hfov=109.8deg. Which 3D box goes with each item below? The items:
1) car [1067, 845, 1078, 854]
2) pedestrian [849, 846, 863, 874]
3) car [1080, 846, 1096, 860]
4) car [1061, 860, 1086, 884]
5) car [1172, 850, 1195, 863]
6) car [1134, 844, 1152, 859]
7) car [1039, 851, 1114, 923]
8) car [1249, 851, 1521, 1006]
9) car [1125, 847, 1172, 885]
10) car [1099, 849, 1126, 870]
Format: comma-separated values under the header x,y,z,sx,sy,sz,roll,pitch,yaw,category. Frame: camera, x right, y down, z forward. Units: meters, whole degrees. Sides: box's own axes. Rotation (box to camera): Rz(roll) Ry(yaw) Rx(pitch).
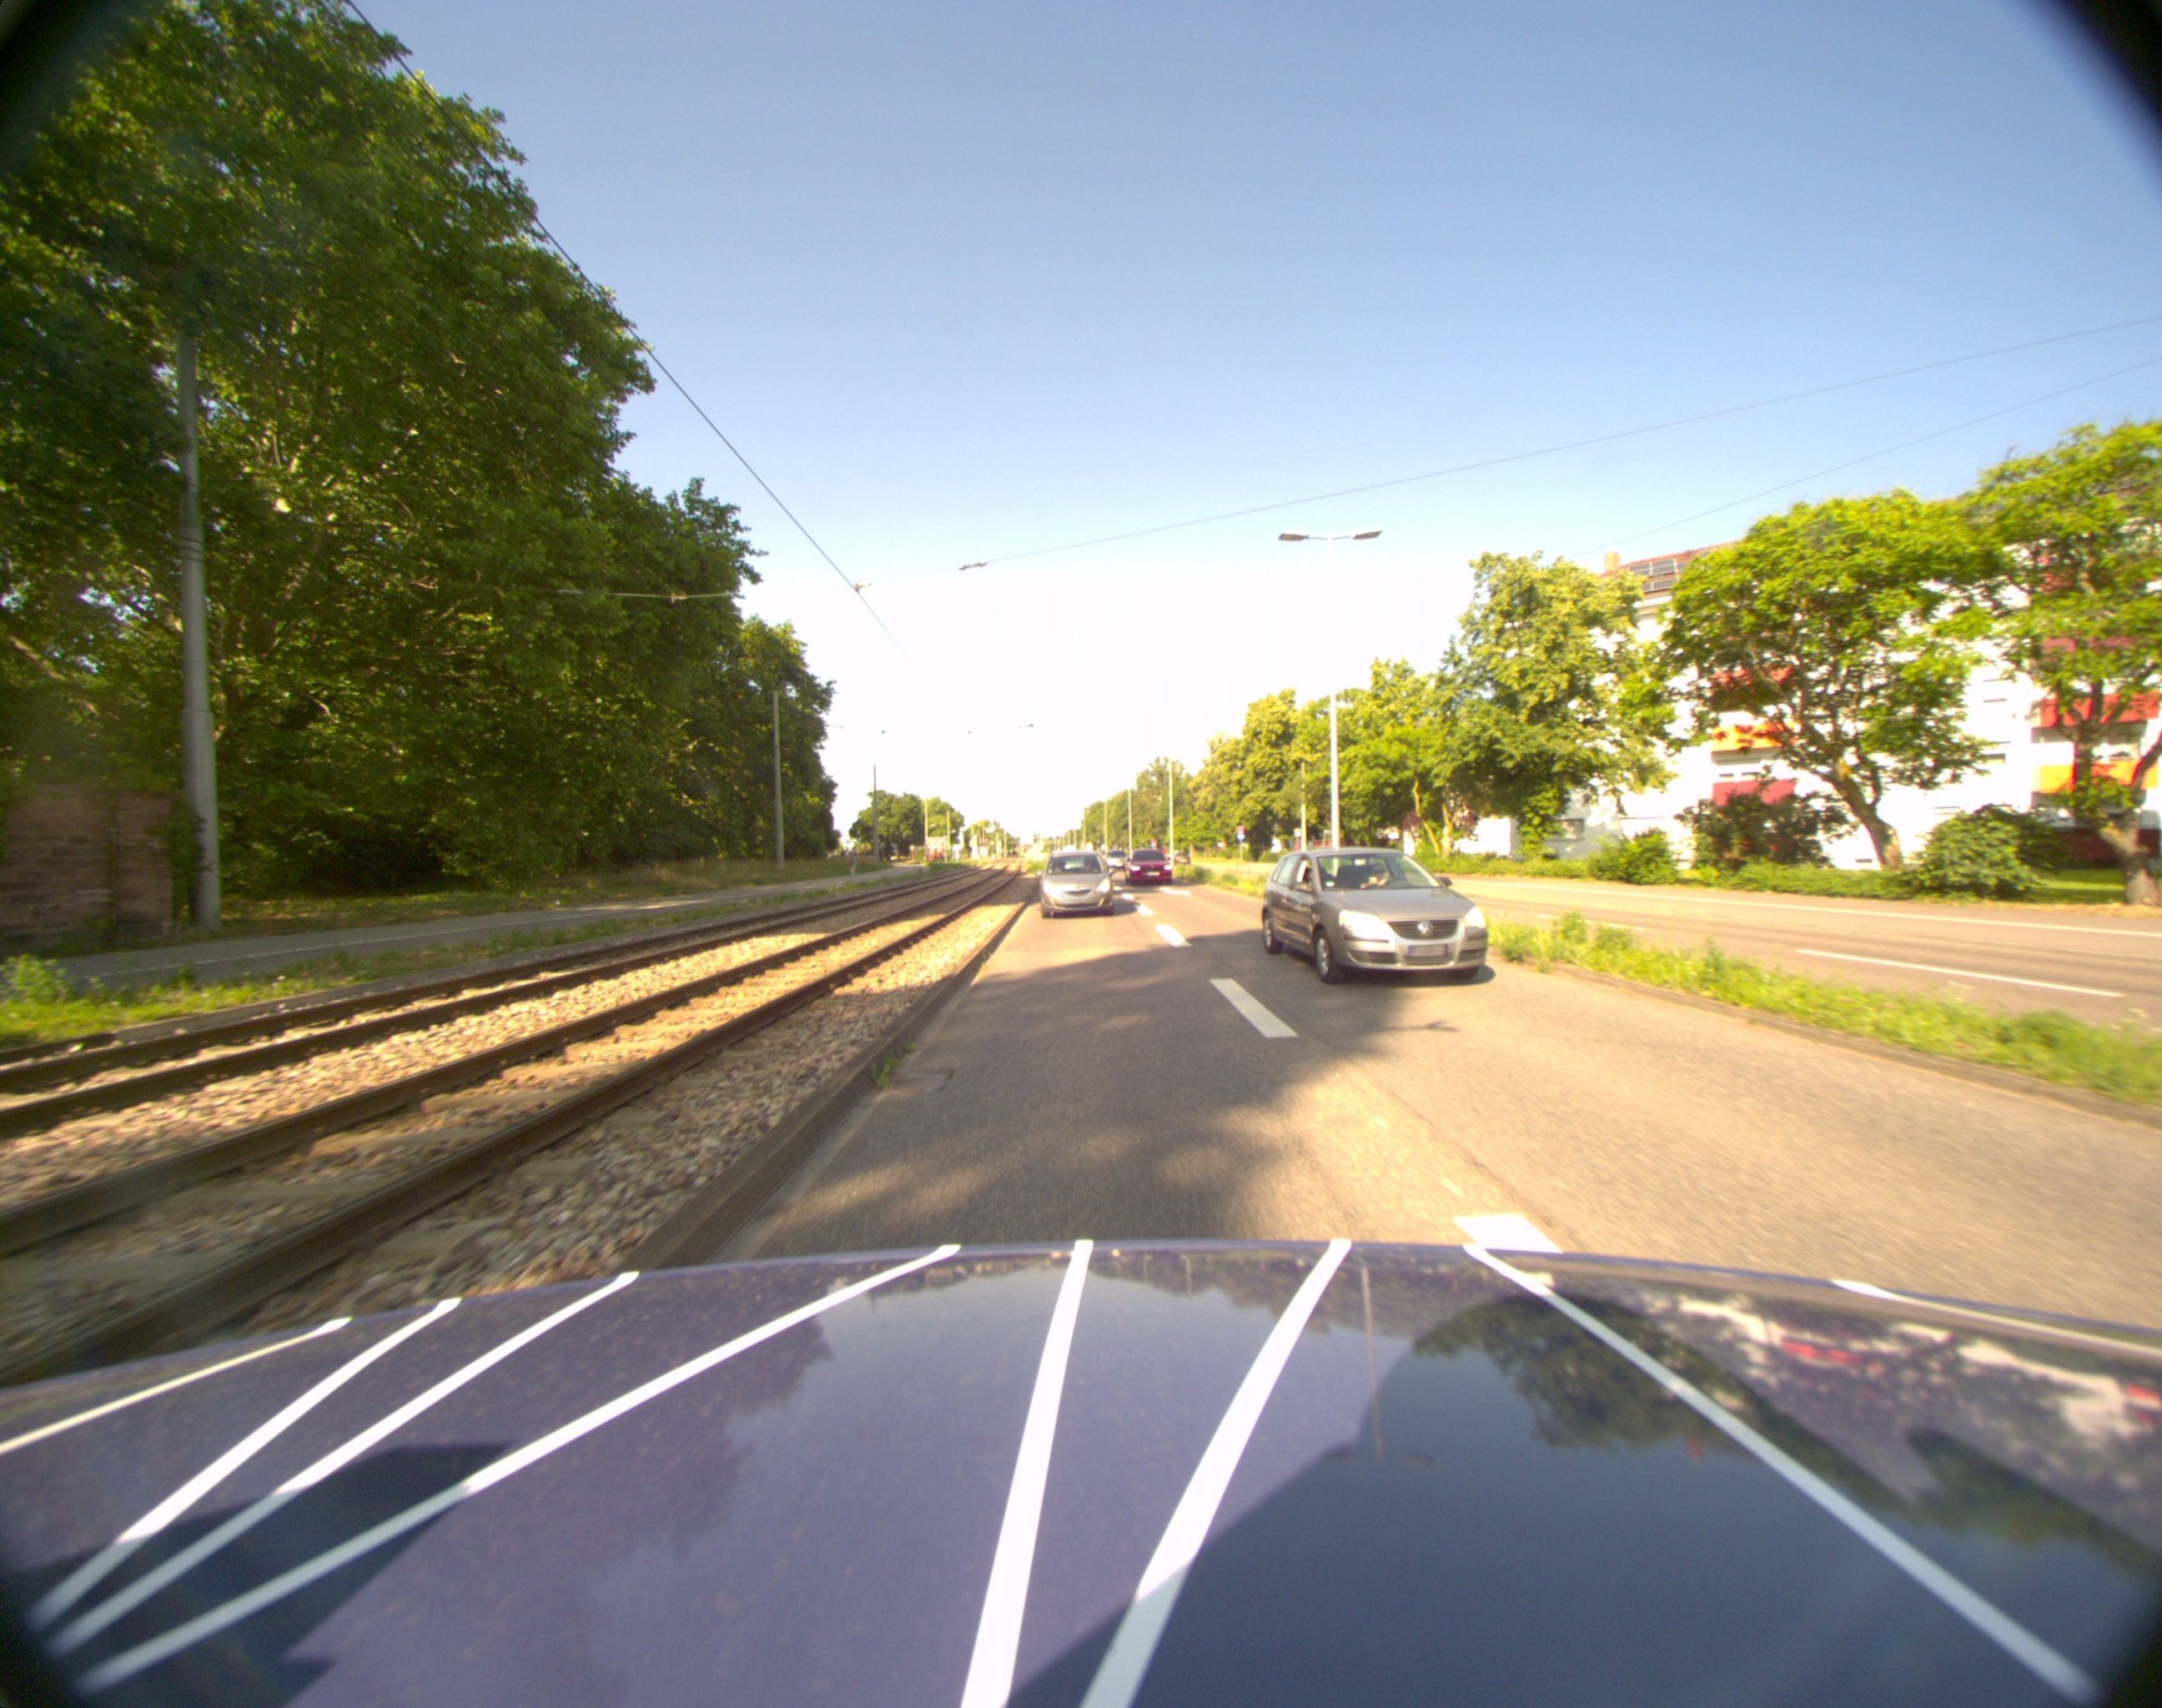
x,y,z,sx,sy,sz,roll,pitch,yaw,category
-1.471,-0.741,131.942,1.710,1.513,3.832,-2,0,-3,car
-13.620,0.348,45.966,0.501,1.706,0.885,0,1,4,pedestrian
0.872,-0.167,94.851,1.774,1.669,4.048,0,0,-3,car
-0.531,1.268,54.127,1.710,1.513,3.832,-2,0,-1,car
10.817,0.247,80.364,1.728,1.411,4.325,0,0,0,car
7.597,-0.353,93.800,1.795,1.774,4.479,-1,1,-1,car
-0.156,0.736,19.094,1.650,1.581,3.832,-2,0,-2,car
3.349,0.709,9.215,1.693,1.420,3.832,-2,0,-1,car
2.984,0.496,34.144,1.693,1.573,3.832,-2,0,-1,car
2.395,0.409,58.039,1.710,1.513,3.832,-2,0,-3,car
